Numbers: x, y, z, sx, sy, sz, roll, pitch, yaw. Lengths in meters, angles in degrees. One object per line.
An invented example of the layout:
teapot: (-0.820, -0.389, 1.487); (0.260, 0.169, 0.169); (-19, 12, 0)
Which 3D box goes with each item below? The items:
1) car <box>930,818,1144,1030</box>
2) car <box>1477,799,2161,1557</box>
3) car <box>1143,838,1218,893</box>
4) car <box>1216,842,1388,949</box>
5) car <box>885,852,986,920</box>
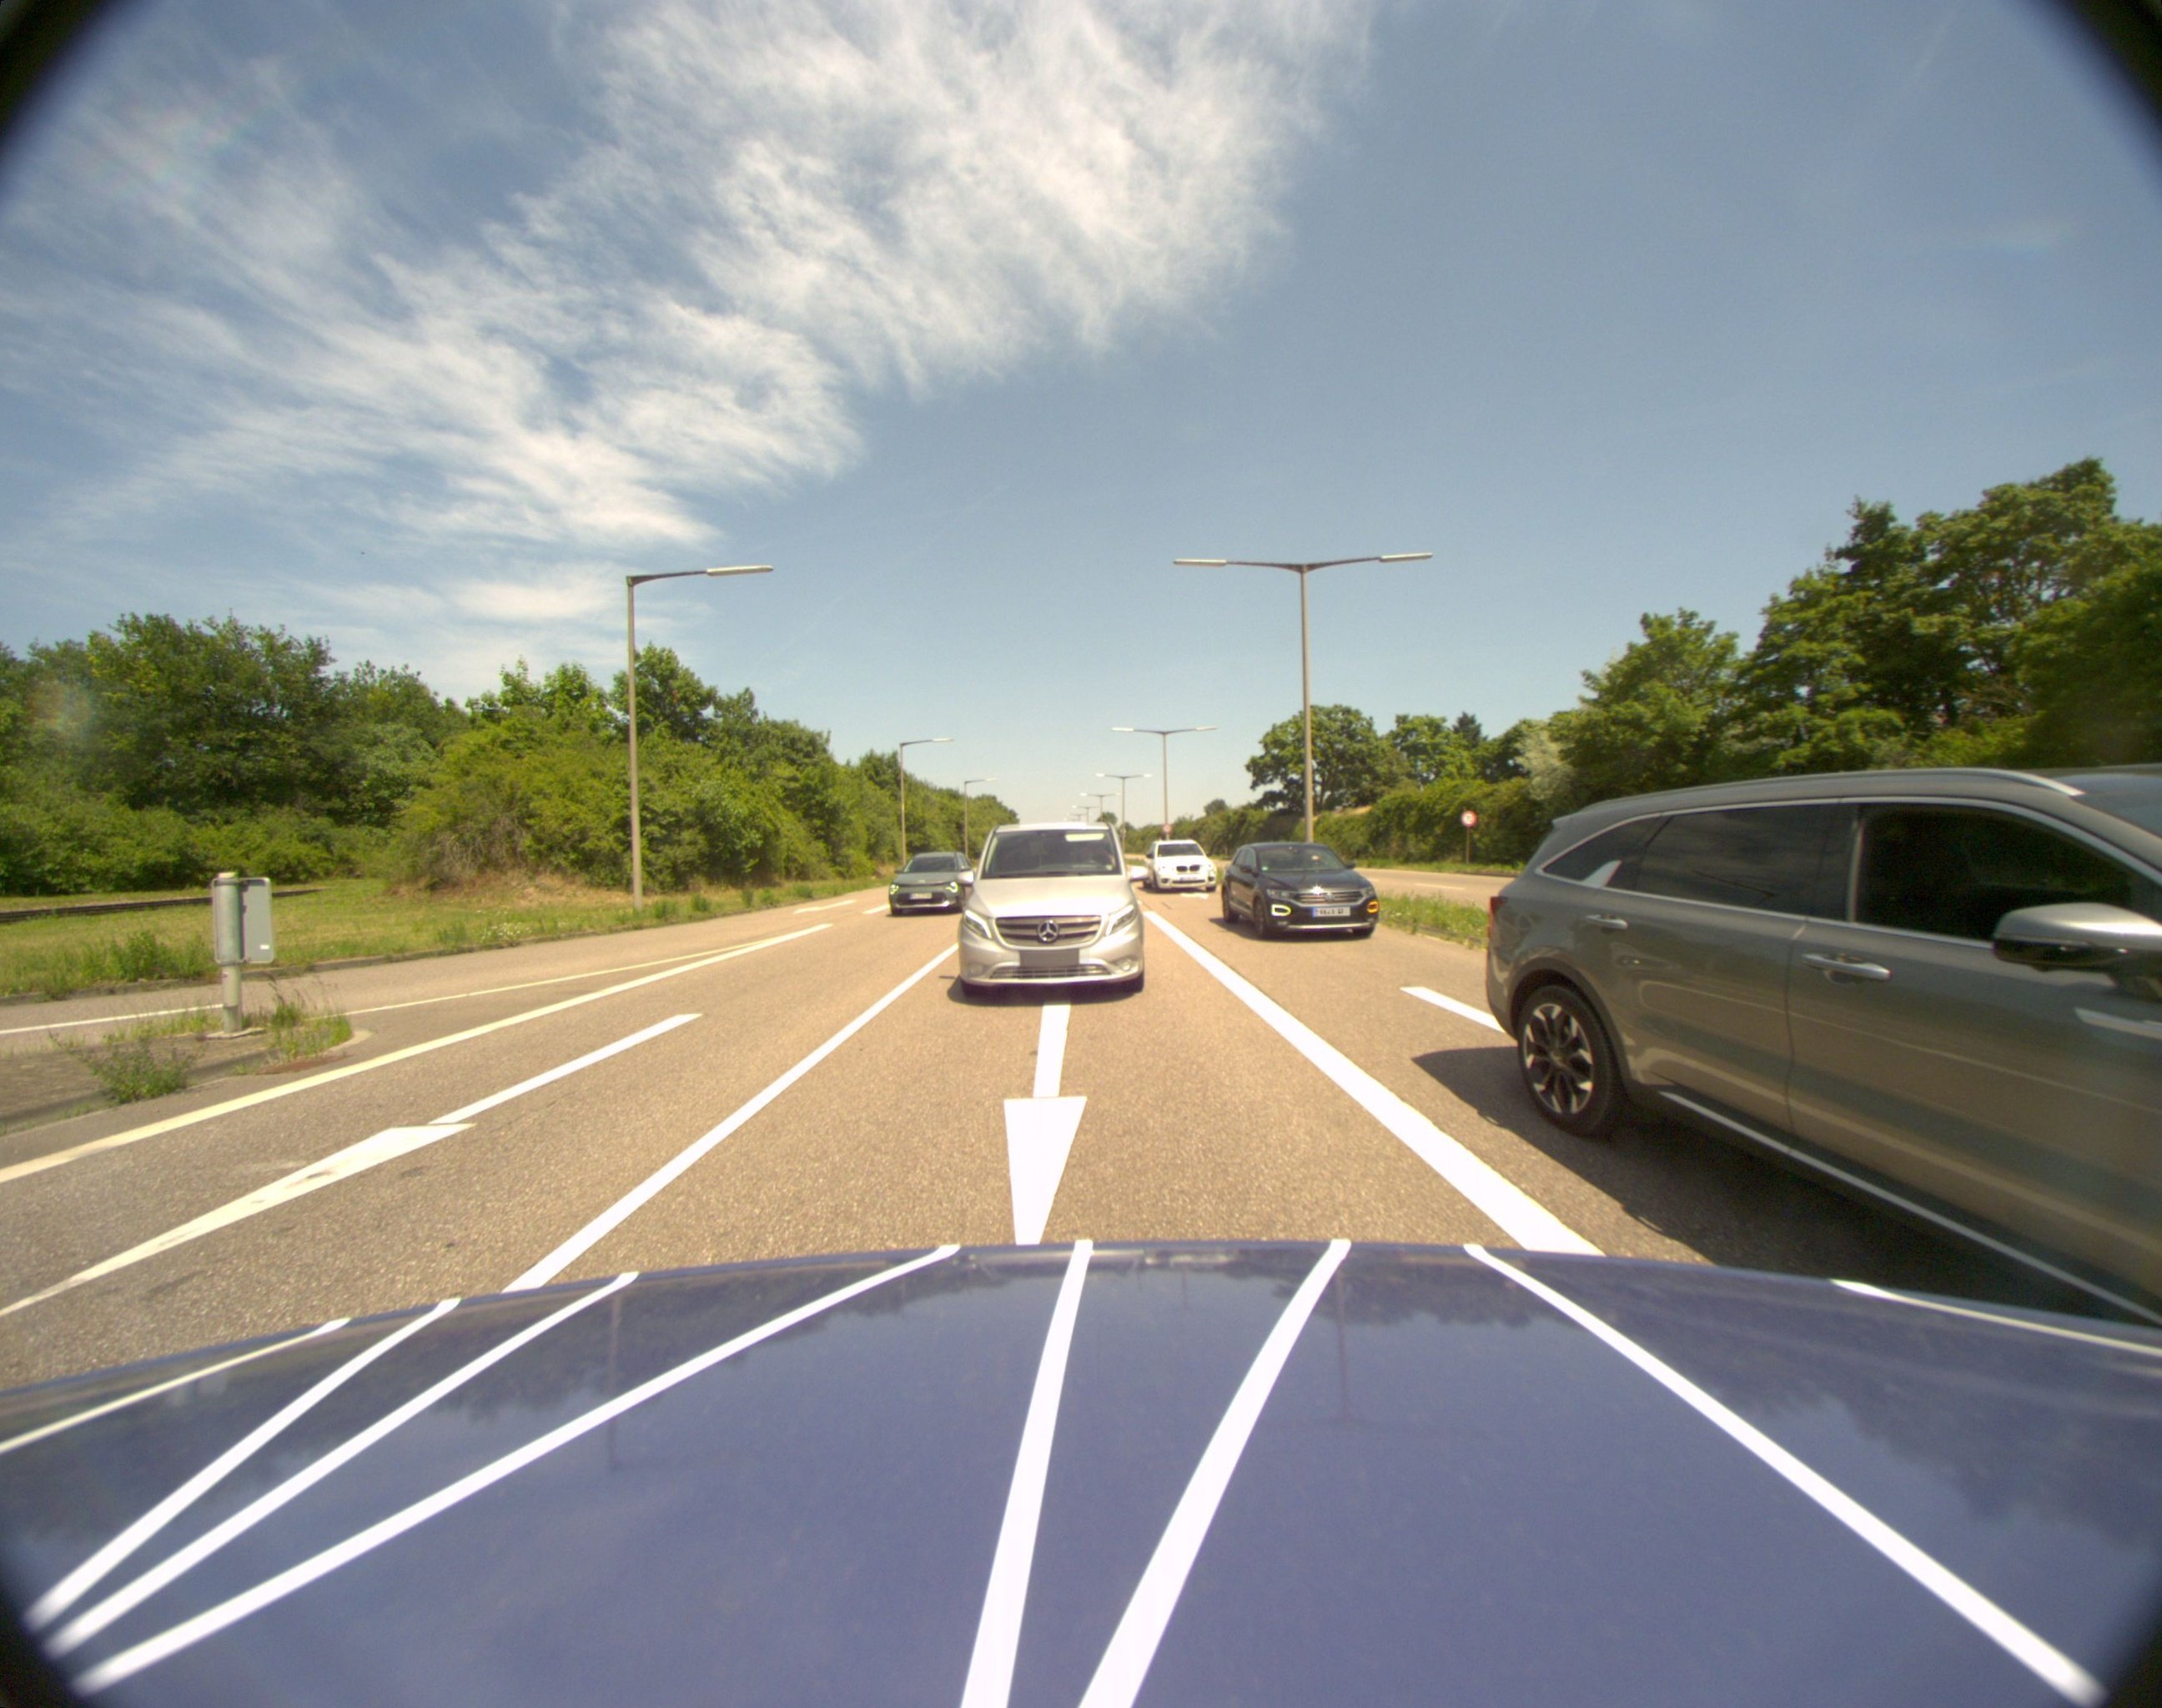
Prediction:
car: (-0.327, 0.593, 9.655); (1.876, 1.866, 5.731); (-1, 1, 1)
car: (3.237, 0.684, 2.217); (1.785, 1.658, 4.530); (-1, 1, 0)
car: (3.231, 0.322, 25.444); (1.921, 1.662, 4.000); (-1, 1, -1)
car: (3.592, 0.585, 13.111); (1.753, 1.491, 3.999); (-2, 1, 0)
car: (-3.756, 0.758, 20.265); (1.722, 1.587, 4.000); (-1, 1, 3)
